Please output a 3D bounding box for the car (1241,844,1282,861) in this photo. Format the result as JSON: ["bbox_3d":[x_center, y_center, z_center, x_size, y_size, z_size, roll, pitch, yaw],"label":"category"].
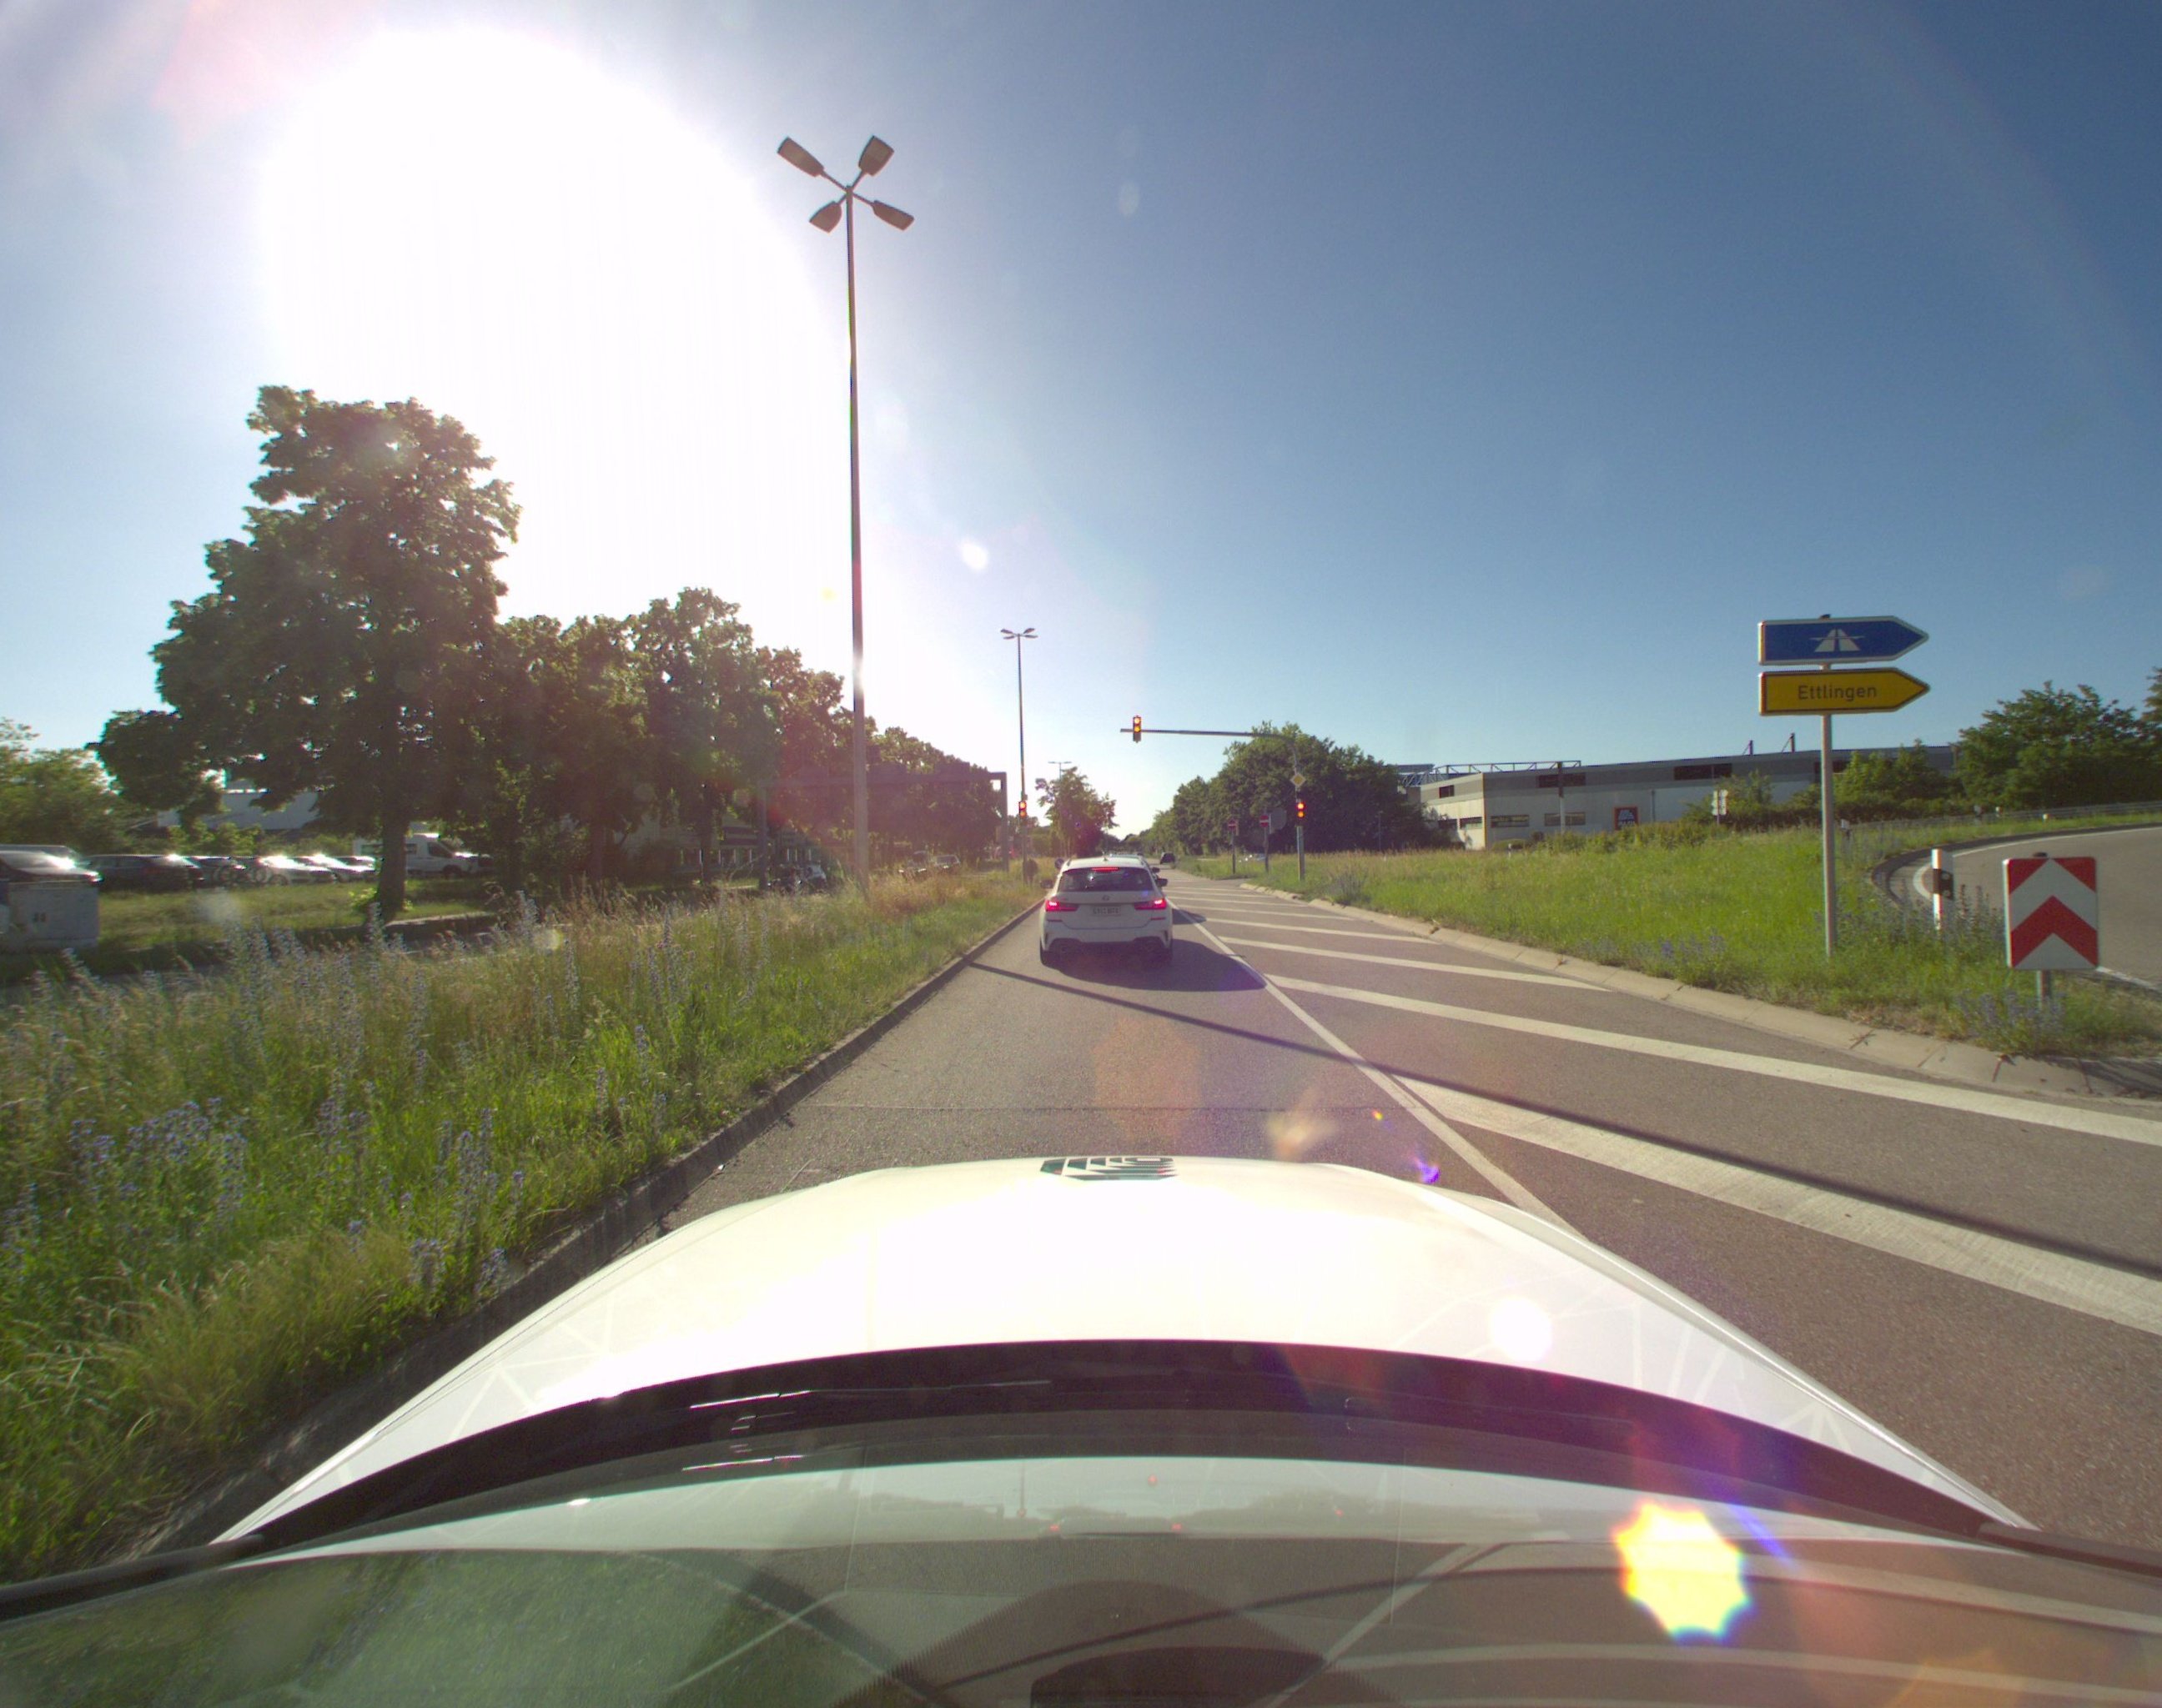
[{"bbox_3d":[16.238,-0.108,73.407,1.865,1.499,4.314,-1,0,-15],"label":"car"}]

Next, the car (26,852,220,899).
[{"bbox_3d":[-32.161,0.684,27.443,4.106,1.388,1.945,-2,0,-2],"label":"car"}]

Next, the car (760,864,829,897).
[{"bbox_3d":[-14.421,1.317,41.272,1.773,1.425,4.384,-3,0,2],"label":"car"}]

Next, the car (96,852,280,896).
[{"bbox_3d":[-32.513,0.699,29.743,4.601,1.388,1.948,-2,0,2],"label":"car"}]

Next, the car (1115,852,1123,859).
[{"bbox_3d":[9.806,0.341,208.773,1.854,1.565,4.550,-2,0,2],"label":"car"}]

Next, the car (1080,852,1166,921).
[{"bbox_3d":[1.003,0.721,20.306,1.854,1.455,4.550,-2,0,2],"label":"car"}]

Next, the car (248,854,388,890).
[{"bbox_3d":[-32.790,0.758,35.092,4.107,1.388,1.945,-2,0,-2],"label":"car"}]

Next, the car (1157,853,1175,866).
[{"bbox_3d":[10.743,0.694,103.131,1.765,1.555,3.833,-2,0,1],"label":"car"}]

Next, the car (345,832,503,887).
[{"bbox_3d":[-32.403,0.256,40.296,5.861,2.433,2.205,-2,0,-2],"label":"car"}]

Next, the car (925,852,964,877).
[{"bbox_3d":[-10.263,0.786,61.417,1.934,1.697,4.632,-3,0,2],"label":"car"}]

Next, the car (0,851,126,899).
[{"bbox_3d":[-32.724,0.670,25.159,4.104,1.388,1.947,-2,0,1],"label":"car"}]

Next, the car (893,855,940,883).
[{"bbox_3d":[-10.514,0.928,52.325,1.869,1.542,4.575,-3,0,2],"label":"car"}]

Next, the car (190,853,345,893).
[{"bbox_3d":[-32.389,0.734,32.527,4.107,1.388,1.945,-2,0,-2],"label":"car"}]

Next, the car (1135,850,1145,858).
[{"bbox_3d":[12.187,0.038,167.988,1.854,1.565,4.550,-2,0,2],"label":"car"}]

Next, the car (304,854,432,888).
[{"bbox_3d":[-32.921,0.780,37.709,4.107,1.388,1.945,-2,0,-2],"label":"car"}]

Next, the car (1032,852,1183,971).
[{"bbox_3d":[0.438,0.723,12.564,1.854,1.455,4.550,-2,0,3],"label":"car"}]
